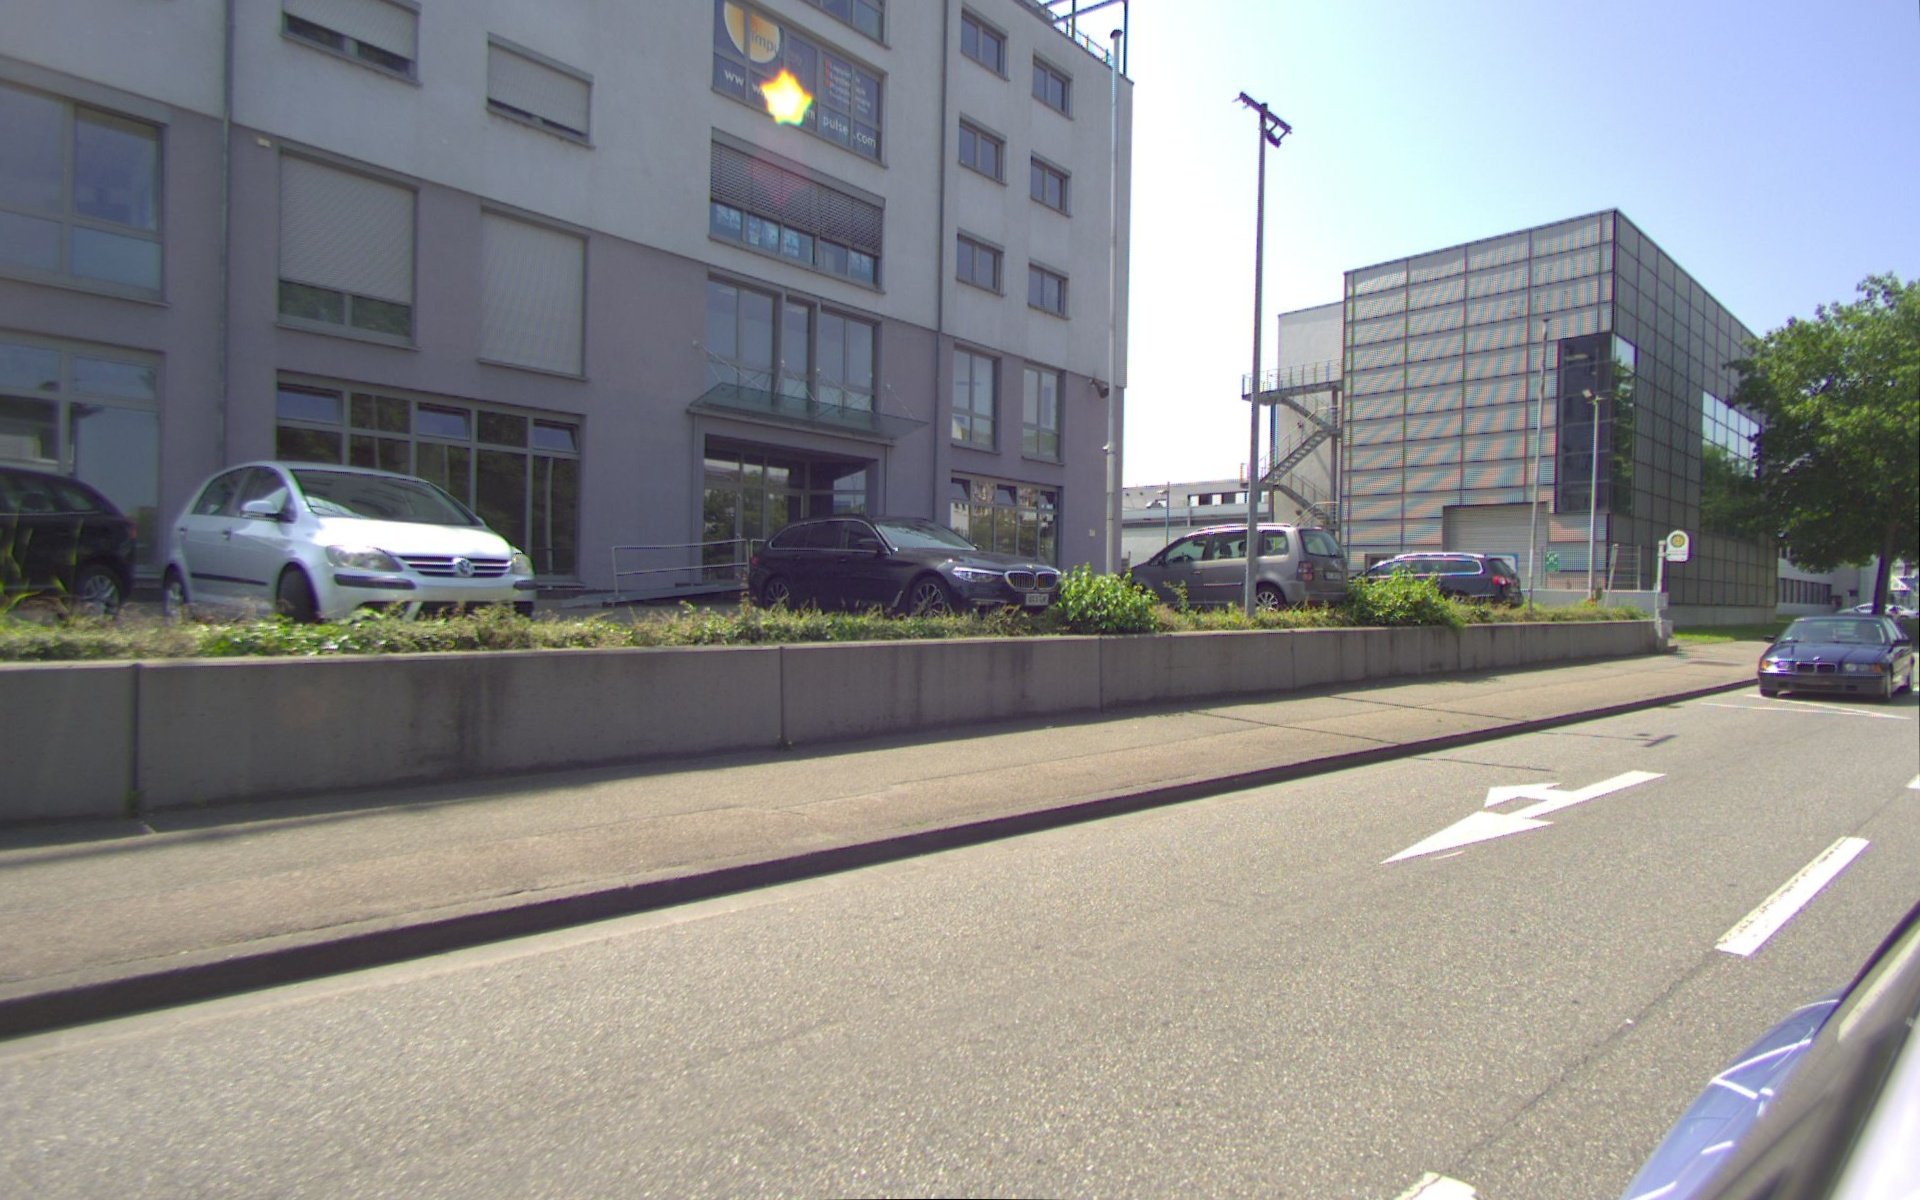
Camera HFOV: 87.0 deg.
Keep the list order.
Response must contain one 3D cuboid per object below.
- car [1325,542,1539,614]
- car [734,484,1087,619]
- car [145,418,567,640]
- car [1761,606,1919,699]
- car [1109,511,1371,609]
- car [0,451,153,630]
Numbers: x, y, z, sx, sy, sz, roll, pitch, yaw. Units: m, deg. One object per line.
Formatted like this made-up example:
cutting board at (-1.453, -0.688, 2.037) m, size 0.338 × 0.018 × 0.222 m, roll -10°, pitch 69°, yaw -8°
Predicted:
car at (10.814, -0.540, 23.419) m, size 1.728 × 1.504 × 4.134 m, roll -1°, pitch 2°, yaw -41°
car at (-0.815, -0.518, 12.827) m, size 1.770 × 1.398 × 4.750 m, roll -1°, pitch 1°, yaw -45°
car at (-5.314, -0.494, 8.742) m, size 3.975 × 1.505 × 1.736 m, roll 0°, pitch 1°, yaw 36°
car at (15.079, 0.798, 17.113) m, size 3.886 × 1.340 × 1.710 m, roll -1°, pitch 0°, yaw -41°
car at (4.732, -0.631, 17.570) m, size 1.728 × 1.505 × 4.133 m, roll -1°, pitch 1°, yaw -41°
car at (-9.643, -0.532, 9.017) m, size 1.875 × 1.628 × 4.531 m, roll 0°, pitch 0°, yaw -9°
